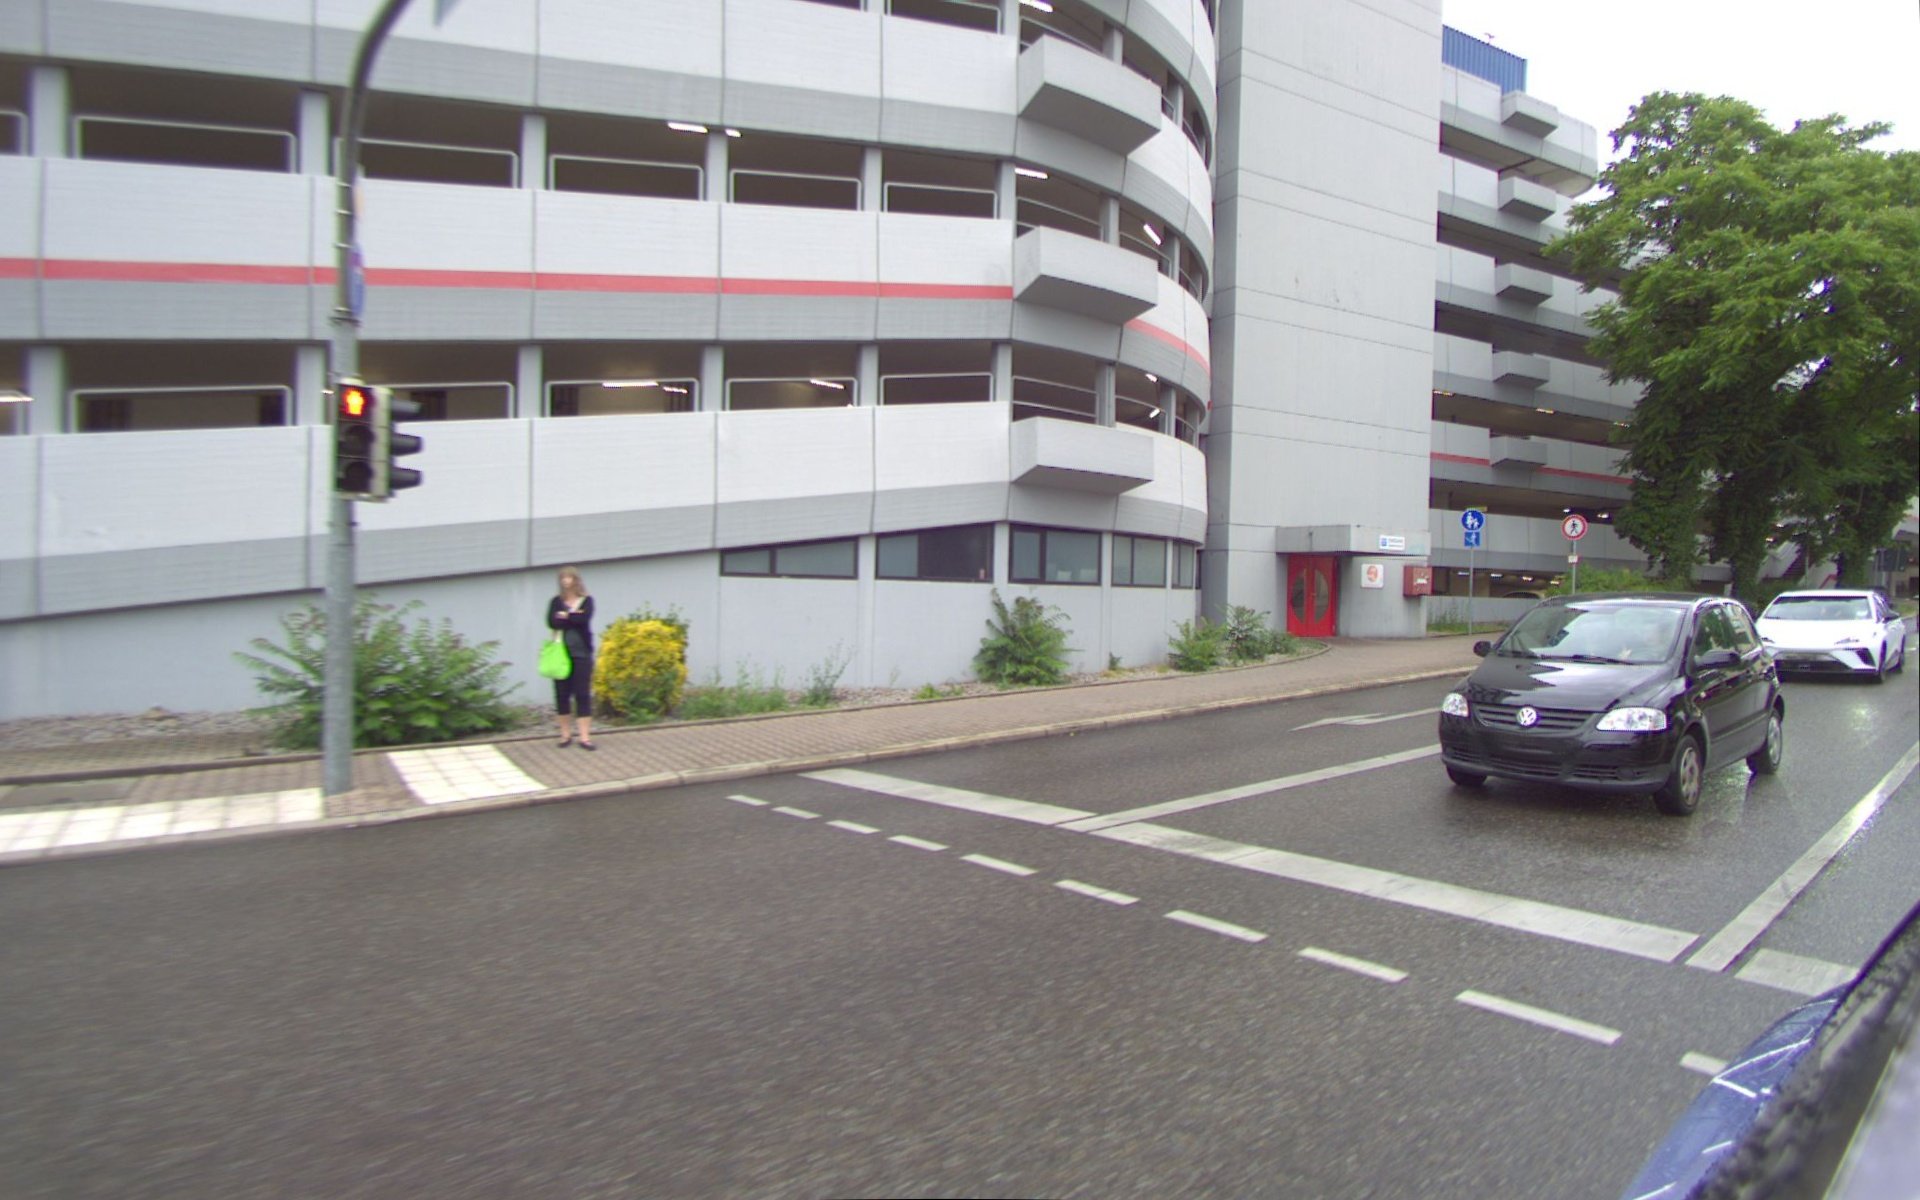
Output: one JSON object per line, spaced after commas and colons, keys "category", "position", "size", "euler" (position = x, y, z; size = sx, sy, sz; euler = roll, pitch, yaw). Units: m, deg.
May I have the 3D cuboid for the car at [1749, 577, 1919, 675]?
{"category": "car", "position": [15.254, 0.401, 17.510], "size": [4.136, 1.496, 1.803], "euler": [0, 0, -42]}

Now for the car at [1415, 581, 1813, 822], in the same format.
{"category": "car", "position": [5.389, 0.632, 8.181], "size": [3.678, 1.511, 1.676], "euler": [0, 0, -40]}

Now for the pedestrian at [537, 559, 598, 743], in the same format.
{"category": "pedestrian", "position": [-3.764, 0.458, 9.687], "size": [0.508, 1.679, 0.586], "euler": [0, 4, -25]}
